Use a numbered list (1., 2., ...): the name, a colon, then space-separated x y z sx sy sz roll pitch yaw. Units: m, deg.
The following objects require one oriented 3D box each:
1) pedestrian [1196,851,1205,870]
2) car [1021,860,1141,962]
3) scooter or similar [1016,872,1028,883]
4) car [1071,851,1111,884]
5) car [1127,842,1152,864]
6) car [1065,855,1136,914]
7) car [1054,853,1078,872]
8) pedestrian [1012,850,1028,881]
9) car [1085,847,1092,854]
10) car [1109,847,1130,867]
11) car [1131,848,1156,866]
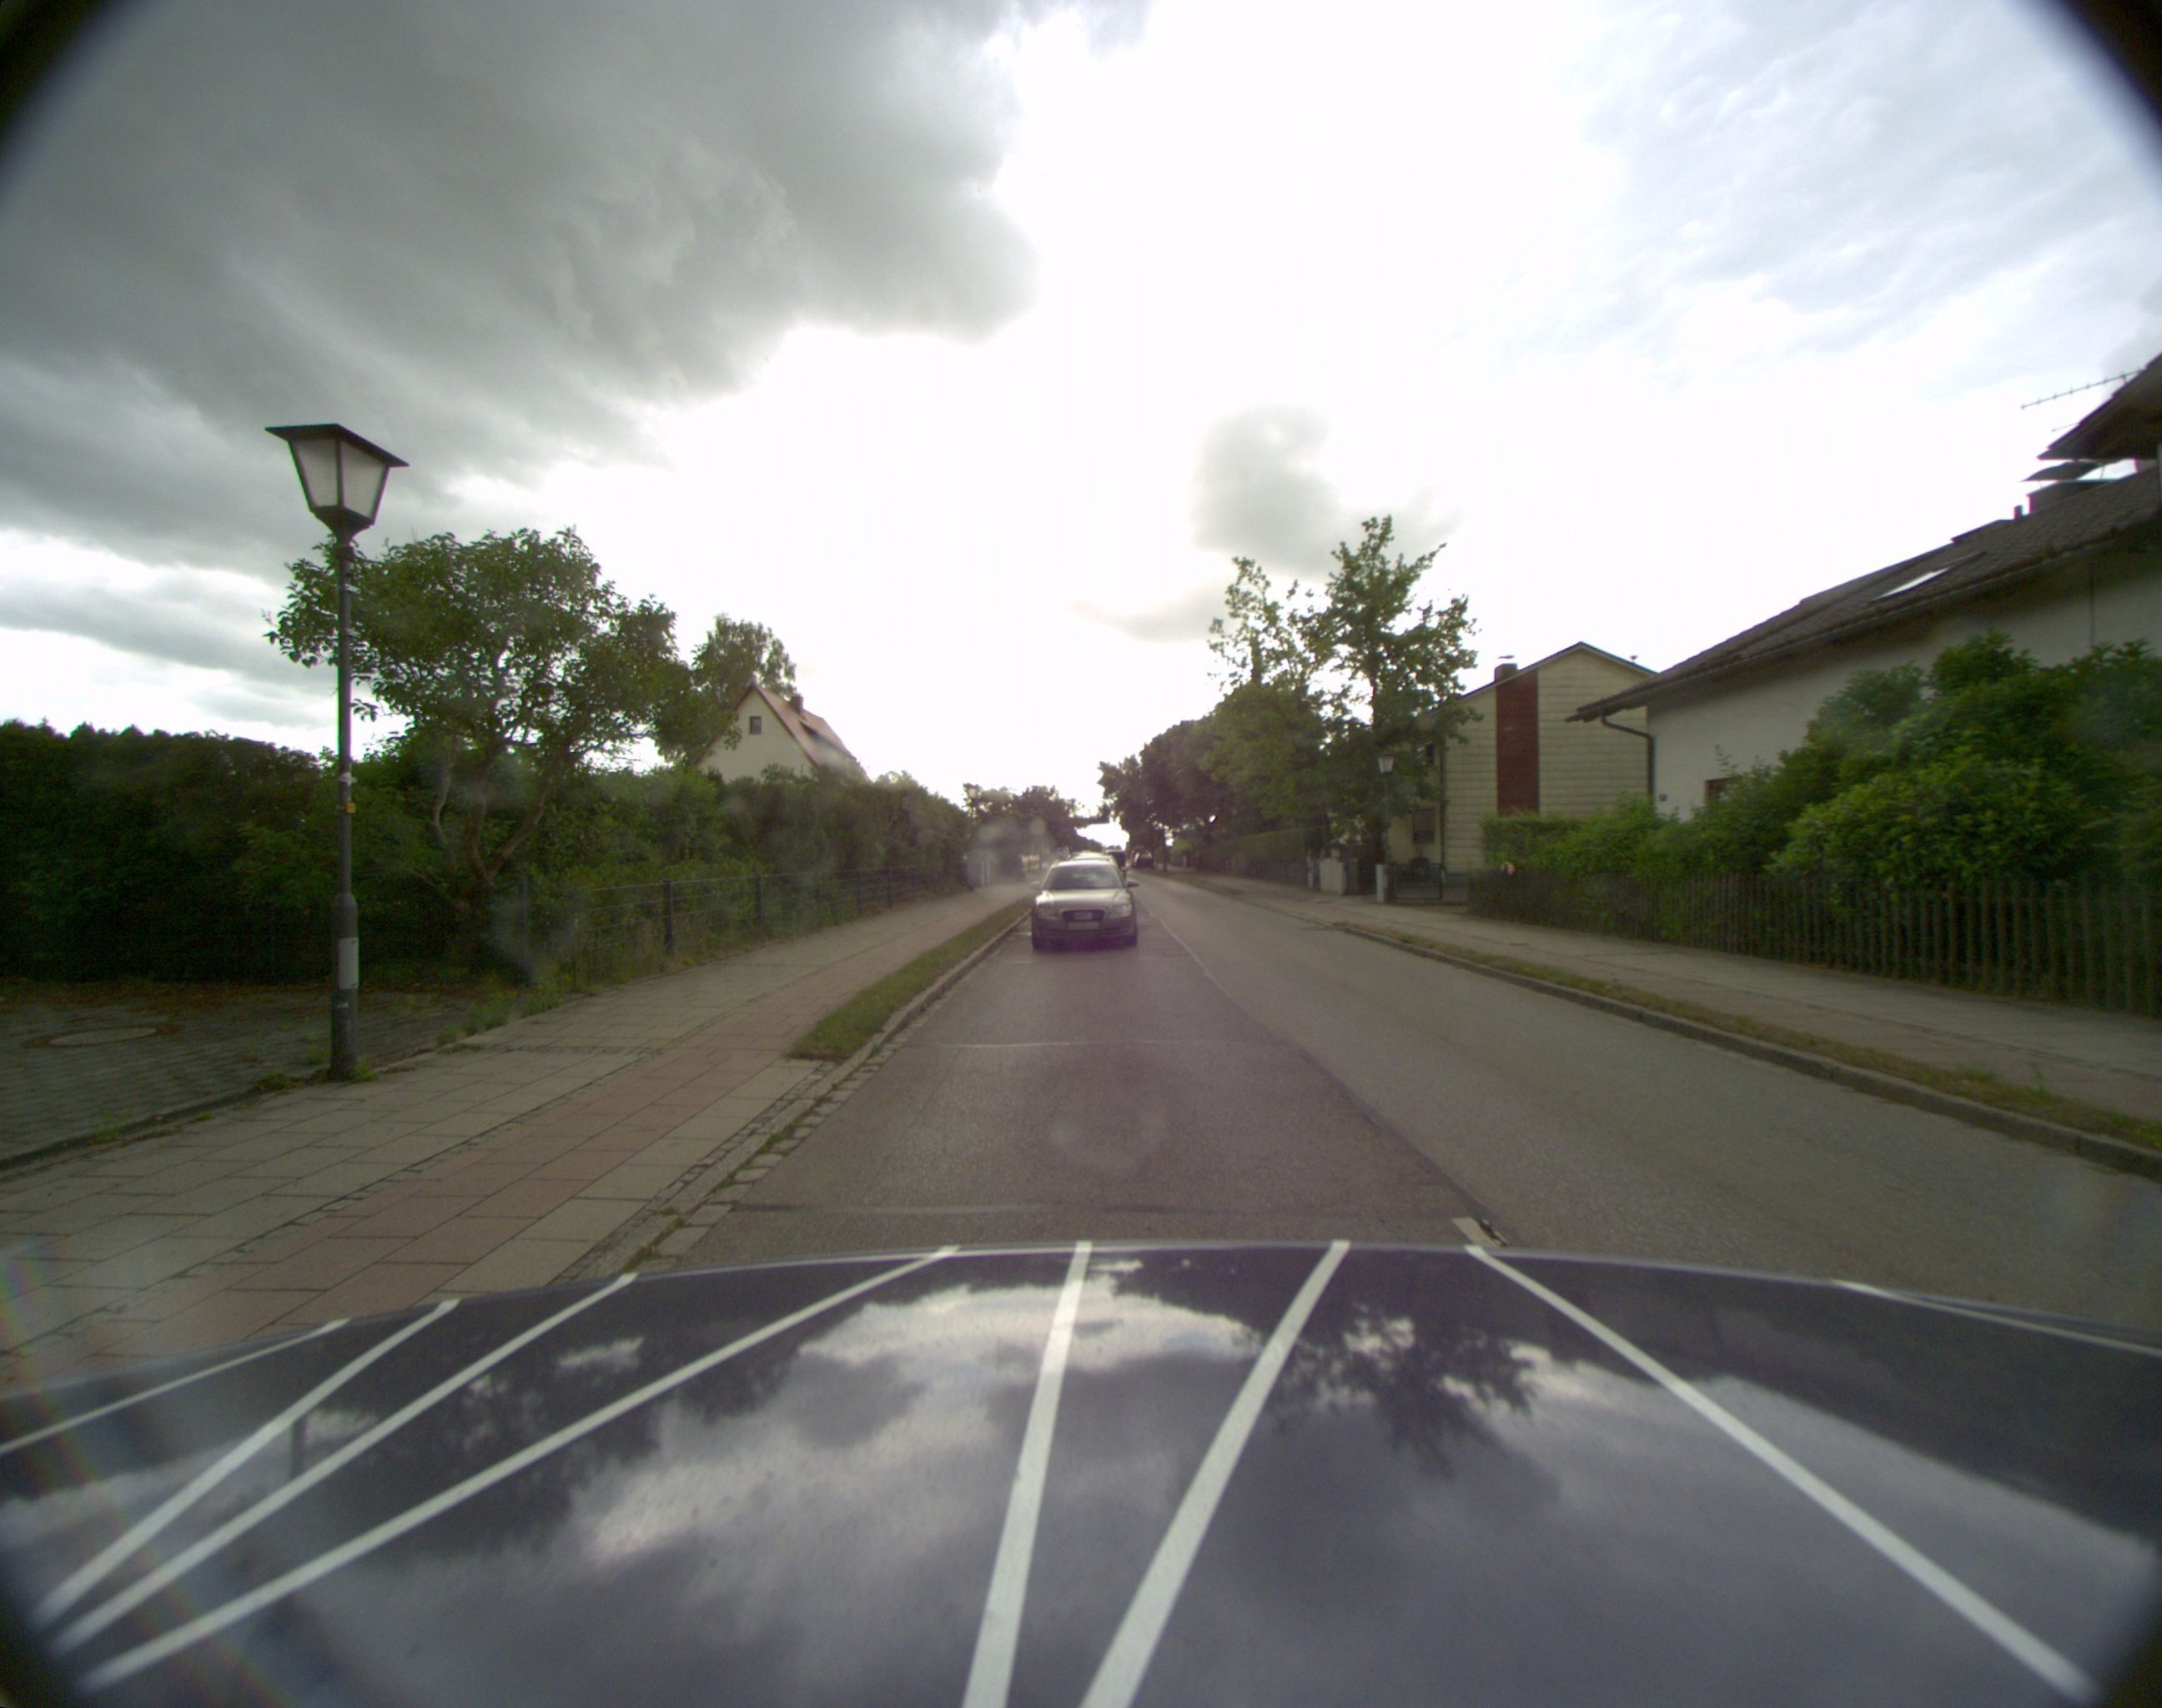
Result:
1. pedestrian: 9.272 0.502 59.048 0.631 1.429 0.563 -1 1 1
2. car: 0.025 0.887 13.793 1.809 1.476 4.270 -1 0 1
3. scooter or similar: -3.077 1.206 39.608 0.618 0.553 0.742 -1 0 -2
4. car: 0.494 0.651 37.955 1.866 1.518 4.122 -1 0 1
5. car: 6.360 -0.084 83.140 2.246 2.258 4.469 -1 0 -2
6. car: 0.547 0.812 22.696 1.866 1.518 4.943 -1 0 1
7. car: -1.240 0.670 63.592 1.866 1.518 4.122 -1 0 -1
8. pedestrian: -3.241 0.609 40.229 0.792 1.592 0.671 -1 1 -2
9. car: 2.104 -1.024 213.706 1.998 2.002 4.000 -1 0 1
10. car: 3.733 0.283 74.355 1.969 1.842 4.948 -1 0 2
11. car: 6.336 0.265 77.301 1.999 1.739 3.999 -1 0 -2
